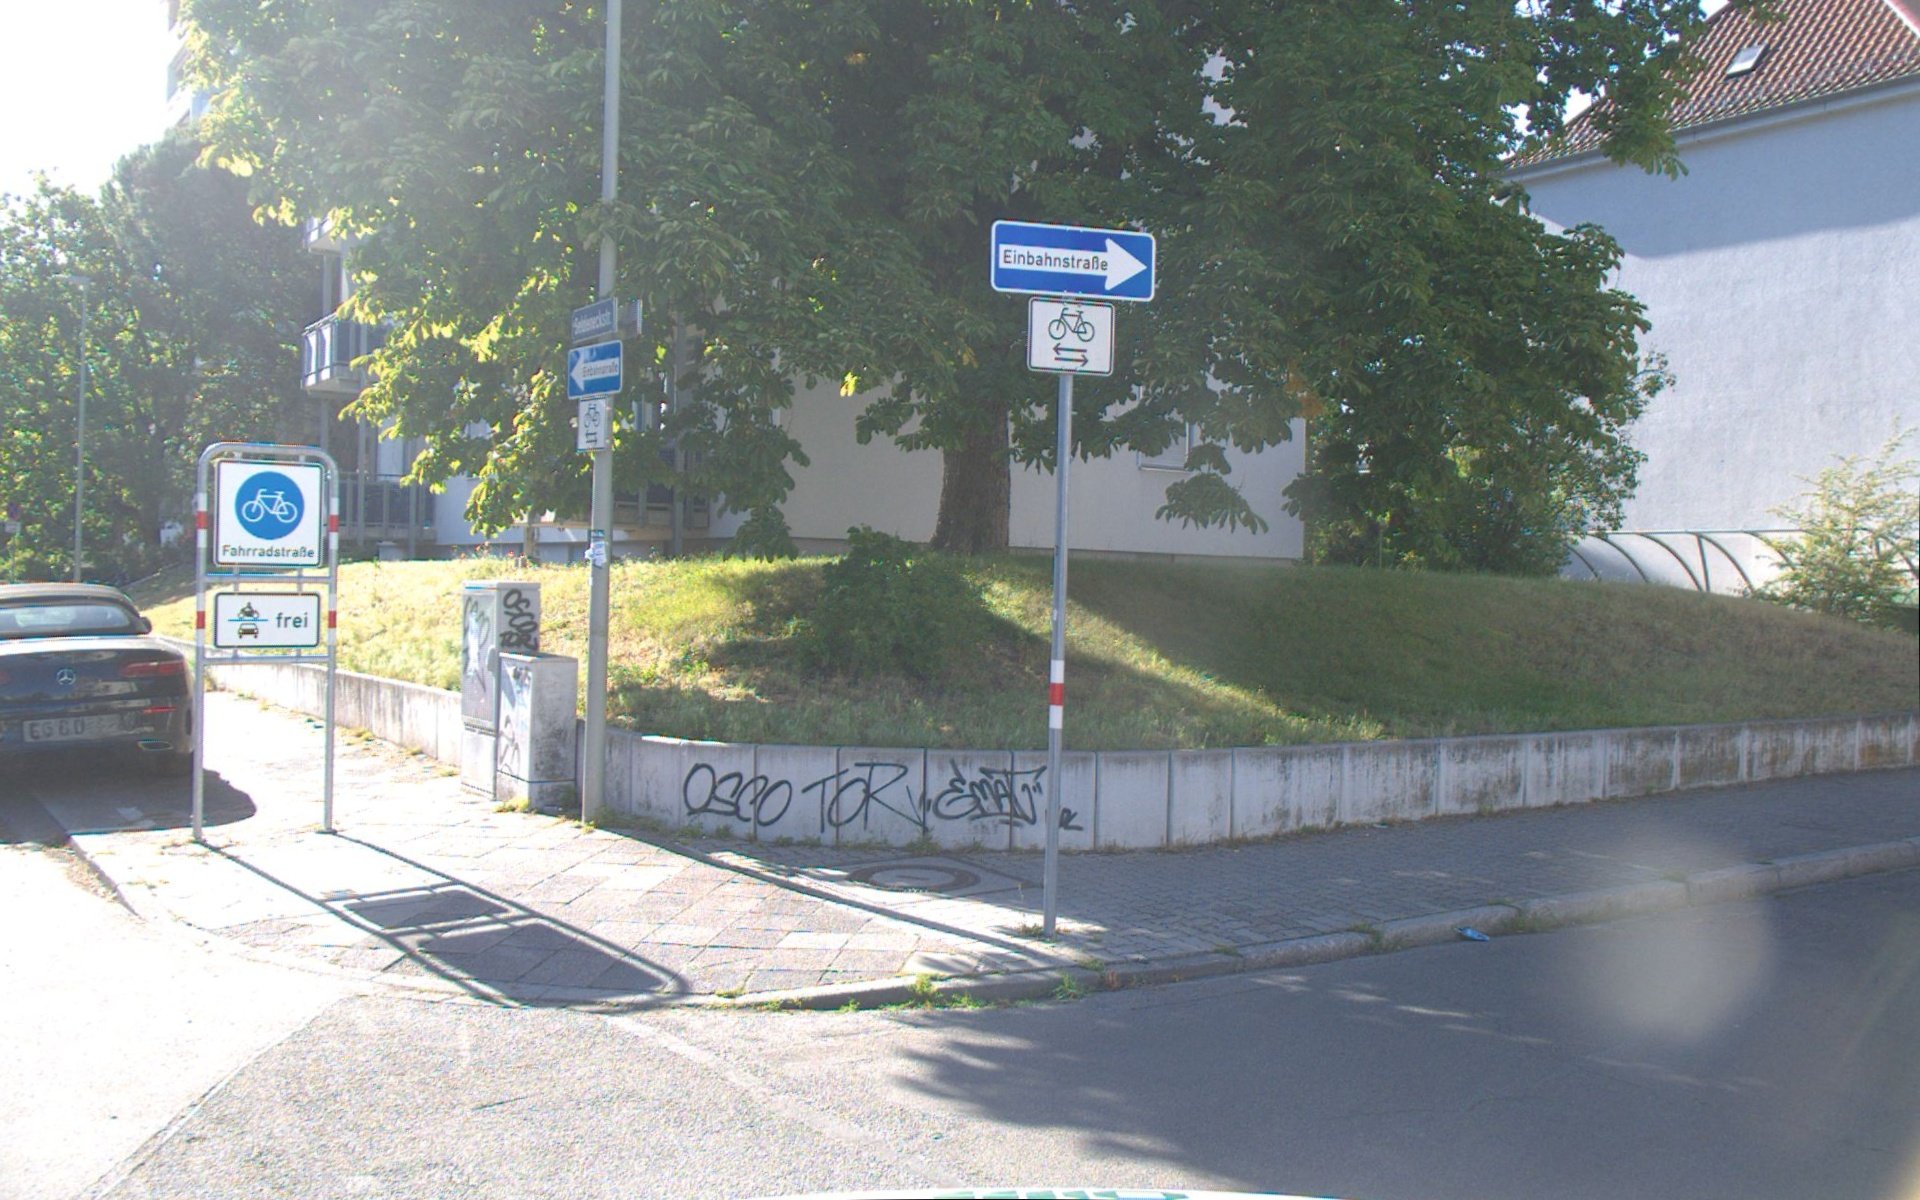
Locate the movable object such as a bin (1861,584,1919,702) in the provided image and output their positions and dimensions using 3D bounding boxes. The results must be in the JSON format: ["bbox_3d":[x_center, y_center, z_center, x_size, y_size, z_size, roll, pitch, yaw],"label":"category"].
[{"bbox_3d":[13.822,0.604,23.459,1.177,1.641,1.446,1,0,-35],"label":"movable object such as a bin"}]

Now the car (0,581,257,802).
[{"bbox_3d":[-6.978,0.568,12.749,2.106,1.360,4.454,-2,2,-33],"label":"car"}]

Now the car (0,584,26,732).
[{"bbox_3d":[-10.883,0.528,17.193,1.763,1.395,4.079,1,0,-33],"label":"car"}]
